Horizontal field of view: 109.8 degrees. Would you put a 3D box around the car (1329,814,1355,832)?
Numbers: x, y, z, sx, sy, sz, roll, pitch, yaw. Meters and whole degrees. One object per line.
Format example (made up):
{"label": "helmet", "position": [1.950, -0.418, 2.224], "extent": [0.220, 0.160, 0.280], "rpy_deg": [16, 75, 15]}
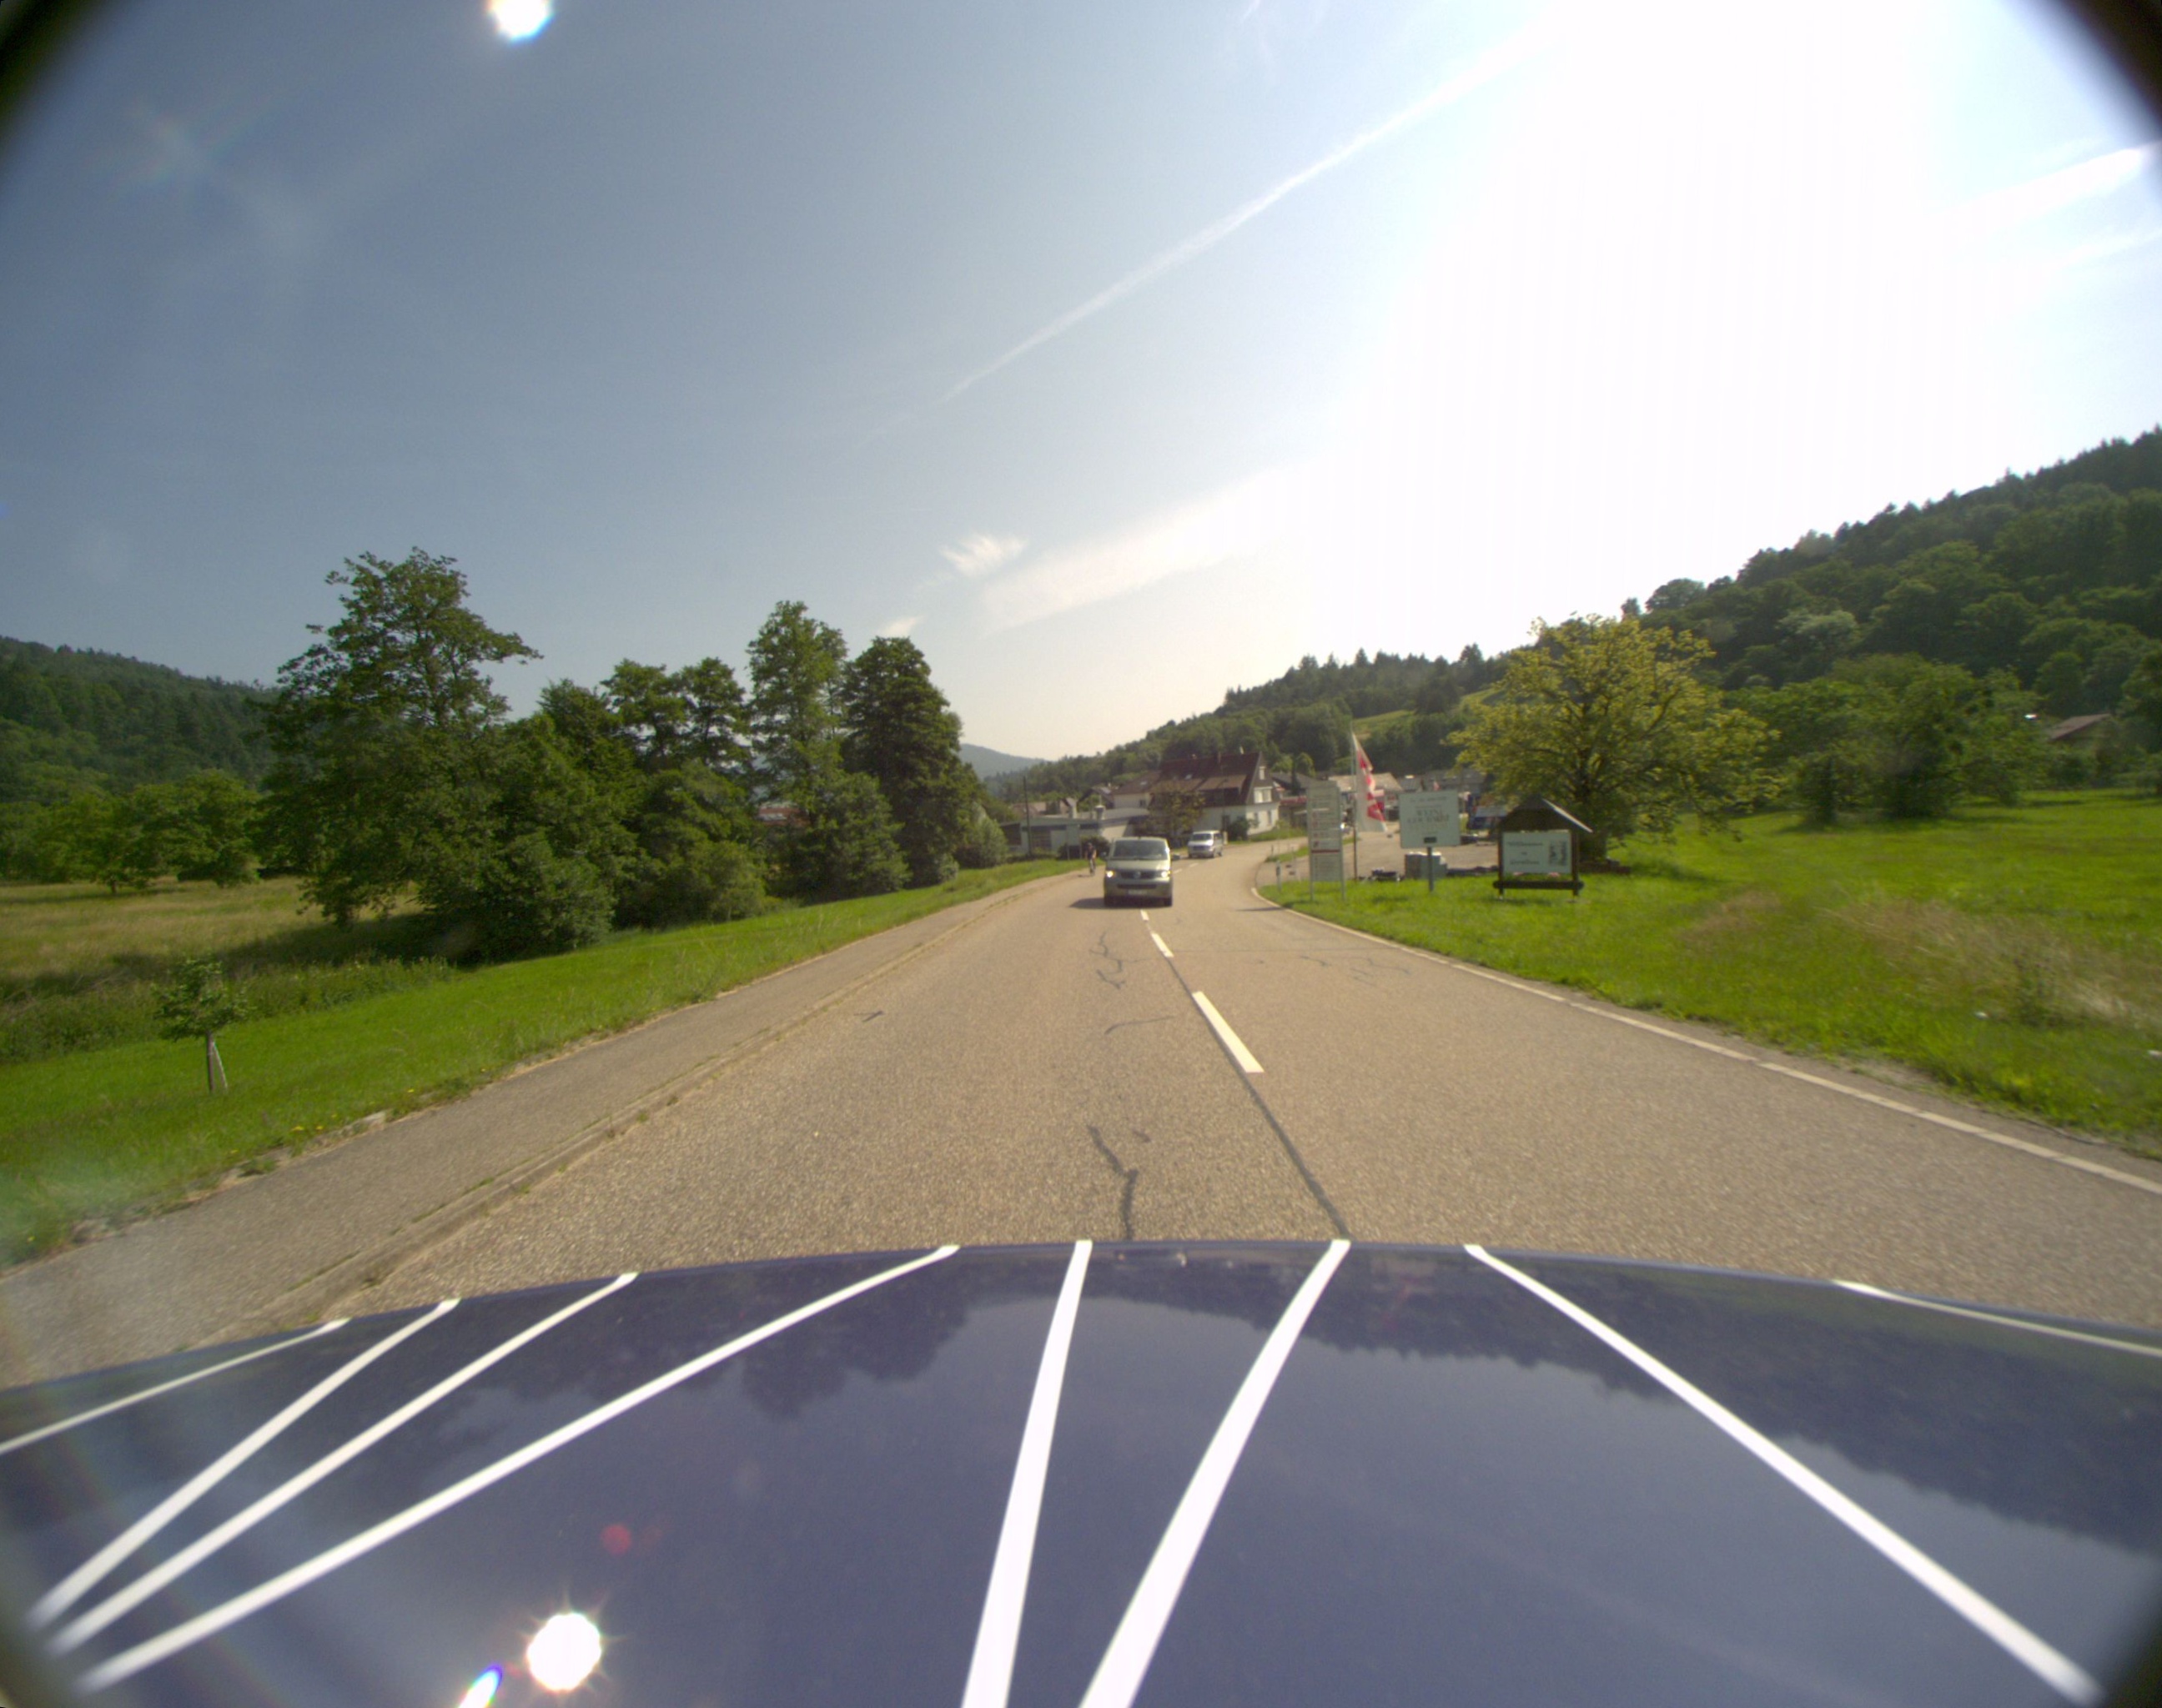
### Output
{"label": "car", "position": [30.903, -3.635, 89.908], "extent": [1.764, 1.737, 3.985], "rpy_deg": [-2, 5, 36]}

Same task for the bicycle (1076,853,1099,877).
{"label": "bicycle", "position": [0.346, 0.506, 36.932], "extent": [0.580, 1.029, 1.992], "rpy_deg": [1, 3, 16]}

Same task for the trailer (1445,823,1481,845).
{"label": "trailer", "position": [28.467, -1.541, 56.577], "extent": [1.995, 1.220, 5.553], "rpy_deg": [-3, 3, 31]}

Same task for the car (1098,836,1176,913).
{"label": "car", "position": [1.663, 0.468, 22.500], "extent": [2.023, 1.971, 5.048], "rpy_deg": [0, 2, 4]}

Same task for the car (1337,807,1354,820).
{"label": "car", "position": [46.488, -7.126, 133.478], "extent": [1.681, 1.806, 4.005], "rpy_deg": [-3, 4, 35]}

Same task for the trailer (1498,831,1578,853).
{"label": "trailer", "position": [26.702, -0.681, 44.448], "extent": [3.935, 0.934, 1.870], "rpy_deg": [-3, 4, 33]}

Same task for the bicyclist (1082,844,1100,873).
{"label": "bicyclist", "position": [0.473, 0.205, 36.951], "extent": [0.580, 1.335, 1.146], "rpy_deg": [1, 4, 16]}

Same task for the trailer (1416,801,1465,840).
{"label": "trailer", "position": [29.444, -2.758, 62.166], "extent": [3.394, 2.896, 1.886], "rpy_deg": [-3, 3, 28]}

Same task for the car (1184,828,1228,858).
{"label": "car", "position": [9.171, -0.853, 55.593], "extent": [1.892, 1.847, 4.708], "rpy_deg": [-2, 3, 25]}
